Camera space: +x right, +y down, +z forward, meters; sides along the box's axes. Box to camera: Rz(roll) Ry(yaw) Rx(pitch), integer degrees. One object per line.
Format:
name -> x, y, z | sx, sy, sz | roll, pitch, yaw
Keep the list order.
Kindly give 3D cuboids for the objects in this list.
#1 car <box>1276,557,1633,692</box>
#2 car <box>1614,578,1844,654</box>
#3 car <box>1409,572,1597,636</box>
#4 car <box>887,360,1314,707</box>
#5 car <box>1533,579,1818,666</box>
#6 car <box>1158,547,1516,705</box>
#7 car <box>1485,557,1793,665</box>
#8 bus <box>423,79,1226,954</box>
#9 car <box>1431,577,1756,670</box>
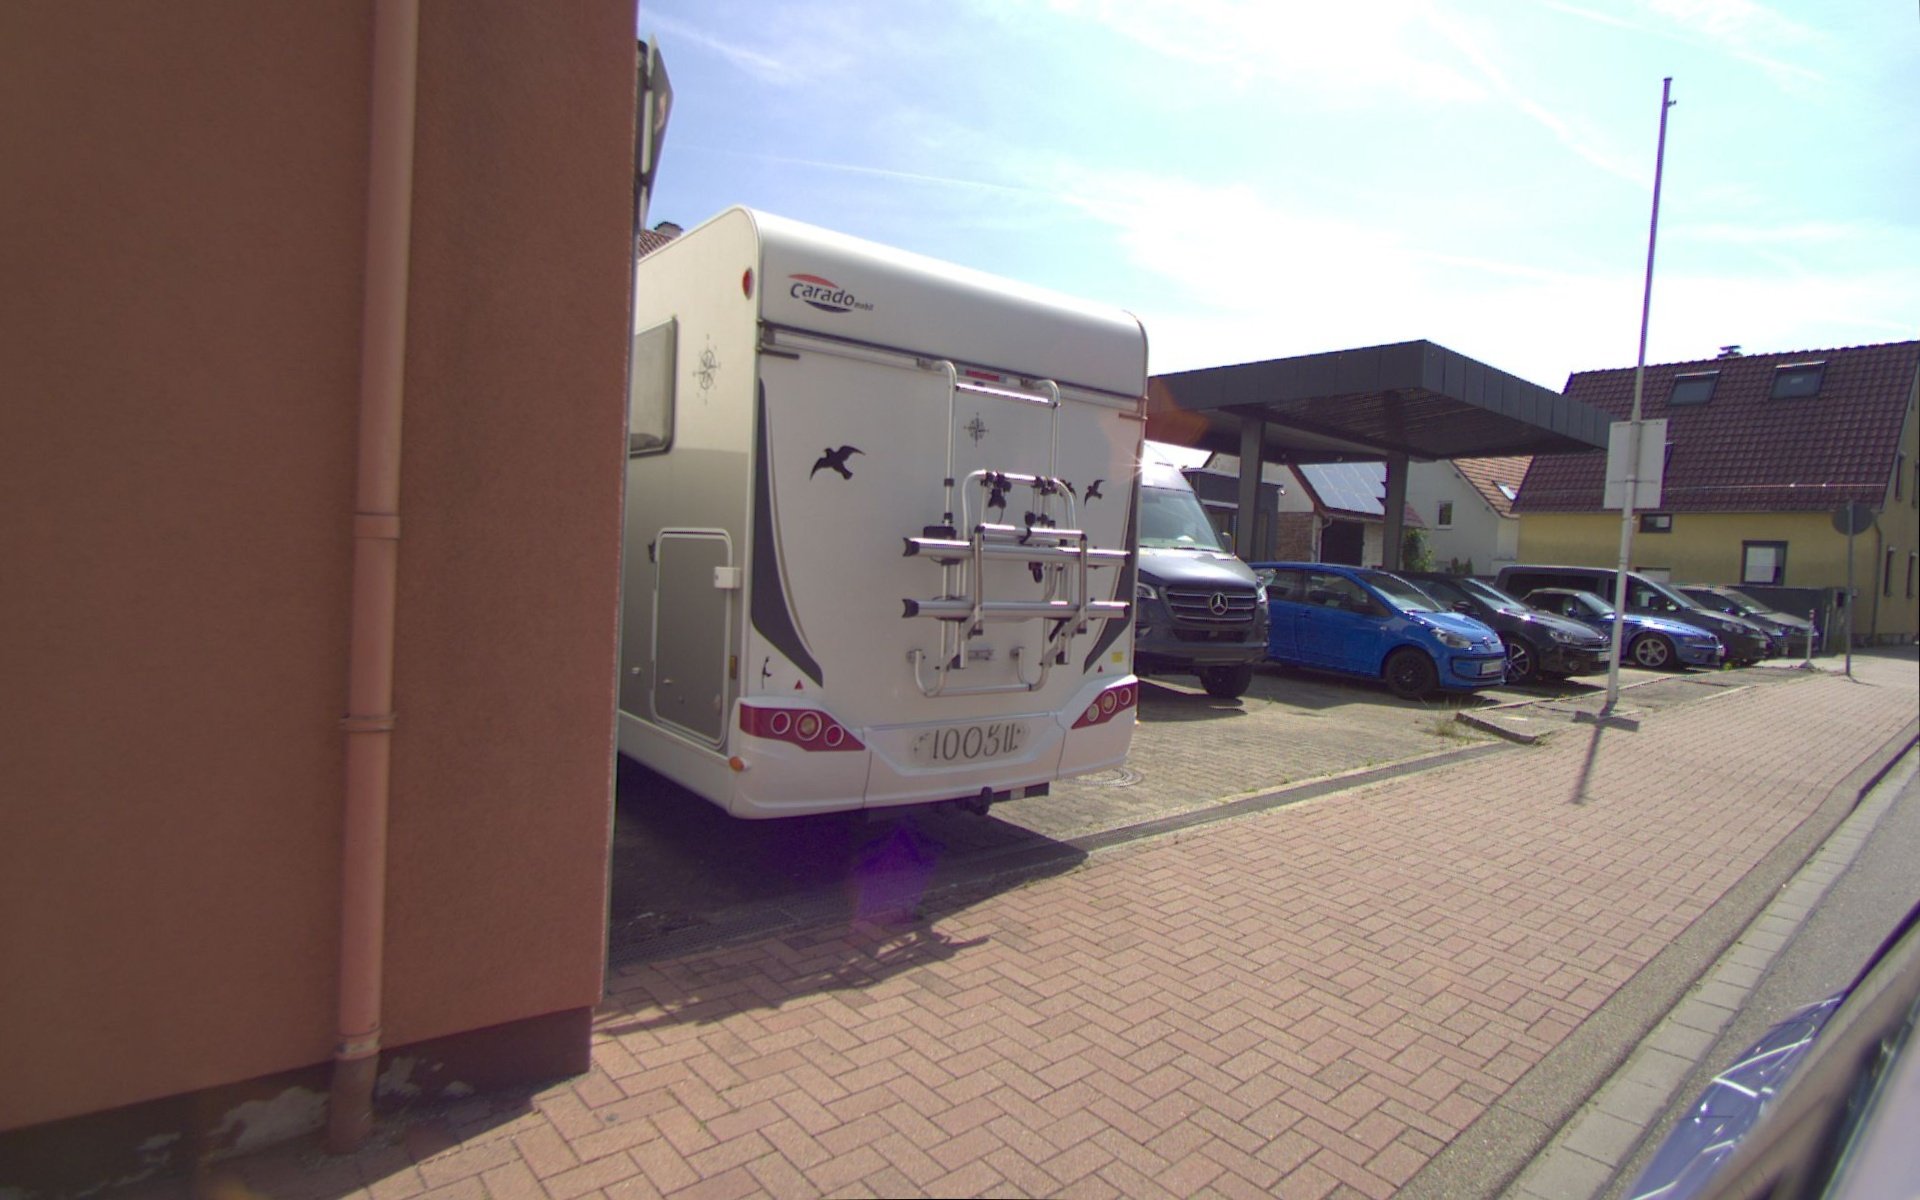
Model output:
car -> 6.798, 0.238, 14.332 | 1.696, 1.499, 4.174 | 1, 3, -38
car -> 19.632, 0.410, 26.036 | 1.704, 1.768, 4.342 | -2, 0, -34
car -> 16.139, 0.068, 30.346 | 1.948, 1.526, 4.563 | 0, 4, -30
car -> 1.160, -0.713, 12.019 | 2.269, 3.023, 5.994 | 2, 2, -21
car -> 15.269, 0.404, 21.848 | 1.875, 1.516, 4.649 | 1, 2, -38
car -> 4.461, 0.198, 12.436 | 1.554, 1.547, 3.810 | 1, 3, -39
car -> 13.227, 0.104, 19.991 | 1.929, 1.832, 4.649 | 0, 2, -38
bus -> -1.689, -0.519, 6.689 | 2.188, 2.939, 6.587 | 0, 5, -38
car -> 11.224, 0.340, 18.252 | 1.929, 1.283, 4.552 | 1, 3, -38
